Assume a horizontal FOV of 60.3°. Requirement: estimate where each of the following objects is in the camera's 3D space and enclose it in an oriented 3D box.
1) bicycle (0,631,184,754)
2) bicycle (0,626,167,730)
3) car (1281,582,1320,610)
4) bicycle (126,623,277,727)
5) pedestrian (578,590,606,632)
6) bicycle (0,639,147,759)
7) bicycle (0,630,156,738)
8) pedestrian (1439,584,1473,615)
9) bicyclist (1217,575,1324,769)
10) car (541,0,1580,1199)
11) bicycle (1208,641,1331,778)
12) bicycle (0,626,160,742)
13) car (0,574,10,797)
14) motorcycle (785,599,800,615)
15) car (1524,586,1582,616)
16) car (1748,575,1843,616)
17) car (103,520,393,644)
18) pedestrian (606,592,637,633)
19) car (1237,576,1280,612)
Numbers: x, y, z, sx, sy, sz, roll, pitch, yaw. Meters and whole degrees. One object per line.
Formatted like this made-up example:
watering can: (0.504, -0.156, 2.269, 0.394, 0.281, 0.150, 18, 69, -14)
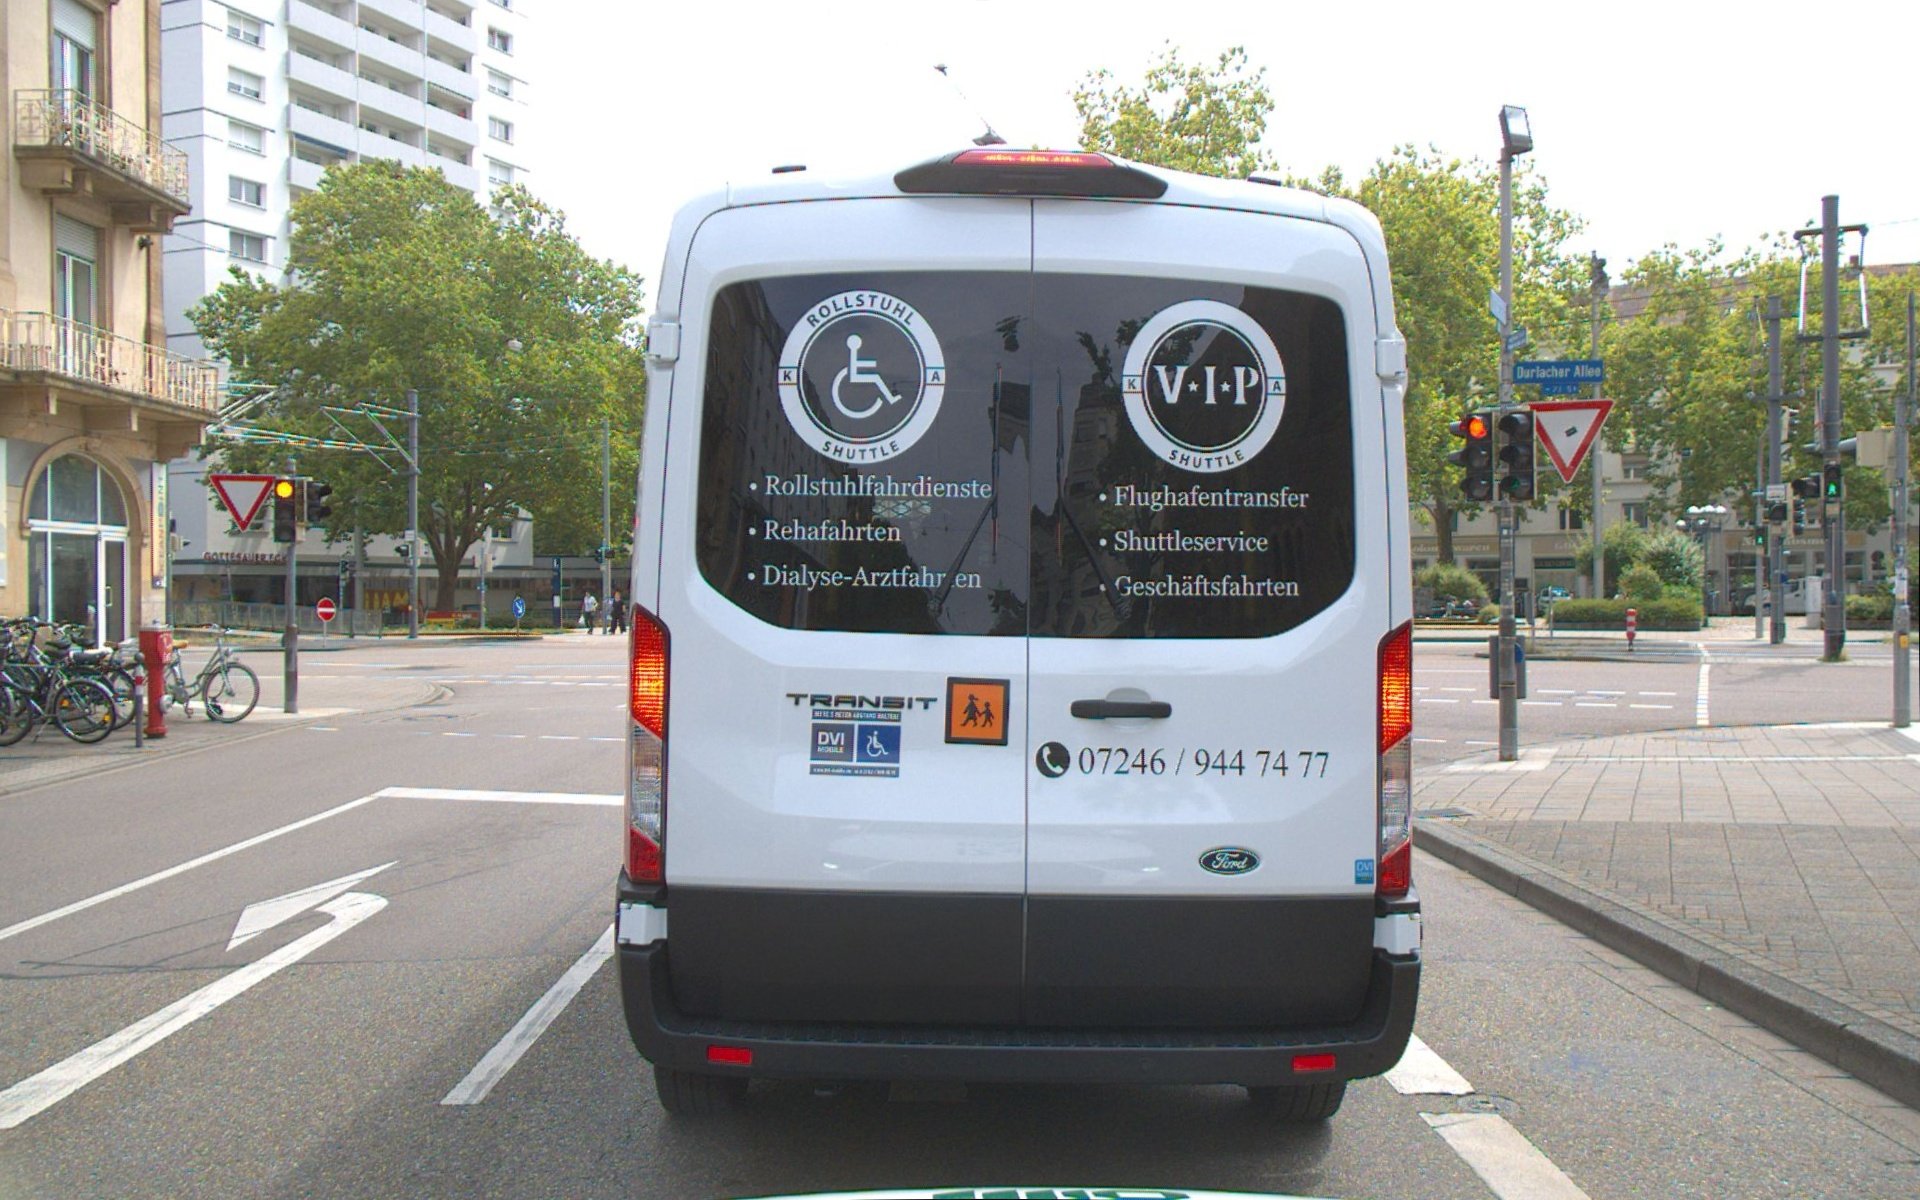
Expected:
bicycle: (-9.047, 0.941, 17.056, 1.771, 1.140, 0.594, 3, 0, 3)
bicycle: (-10.214, 0.893, 19.088, 1.775, 1.140, 0.593, 2, 0, -9)
car: (21.556, -0.273, 104.662, 1.767, 1.713, 4.001, -1, 0, 21)
bicycle: (-9.281, 0.900, 20.219, 1.836, 1.187, 0.498, 2, 0, 20)
pedestrian: (-13.891, 0.410, 62.476, 0.790, 1.600, 0.724, 0, 0, 14)
bicycle: (-9.080, 0.979, 16.387, 1.771, 1.140, 0.594, -1, 0, 6)
bicycle: (-10.001, 0.926, 18.394, 1.775, 1.140, 0.593, 2, 0, -9)
pedestrian: (21.211, -0.018, 70.741, 1.068, 1.257, 1.441, -2, -1, 4)
bicyclist: (2.842, 0.633, 15.095, 0.884, 1.713, 0.757, 0, 0, 16)
car: (0.139, 0.085, 5.784, 2.138, 2.694, 4.627, 1, 1, -2)
bicycle: (2.864, 0.962, 15.143, 0.883, 1.094, 1.971, 0, 0, 17)
bicycle: (-9.670, 0.899, 17.787, 1.775, 1.186, 0.593, 2, 0, -9)
car: (-9.778, 0.712, 12.809, 3.974, 1.804, 1.771, -1, 1, -40)
motorcycle: (-10.309, 0.423, 101.937, 0.669, 0.988, 2.323, -1, 0, 0)
car: (31.757, 0.028, 88.678, 1.951, 1.529, 4.002, -1, 0, 4)
car: (39.900, -0.201, 79.060, 3.907, 1.916, 1.857, -1, 0, 24)
car: (-24.375, -0.577, 56.540, 9.686, 3.984, 3.454, 0, 0, 24)
pedestrian: (-12.835, 0.479, 62.748, 0.909, 1.541, 0.724, 0, 0, 11)
car: (17.099, -0.344, 94.842, 1.951, 1.964, 4.002, -1, 0, 4)
